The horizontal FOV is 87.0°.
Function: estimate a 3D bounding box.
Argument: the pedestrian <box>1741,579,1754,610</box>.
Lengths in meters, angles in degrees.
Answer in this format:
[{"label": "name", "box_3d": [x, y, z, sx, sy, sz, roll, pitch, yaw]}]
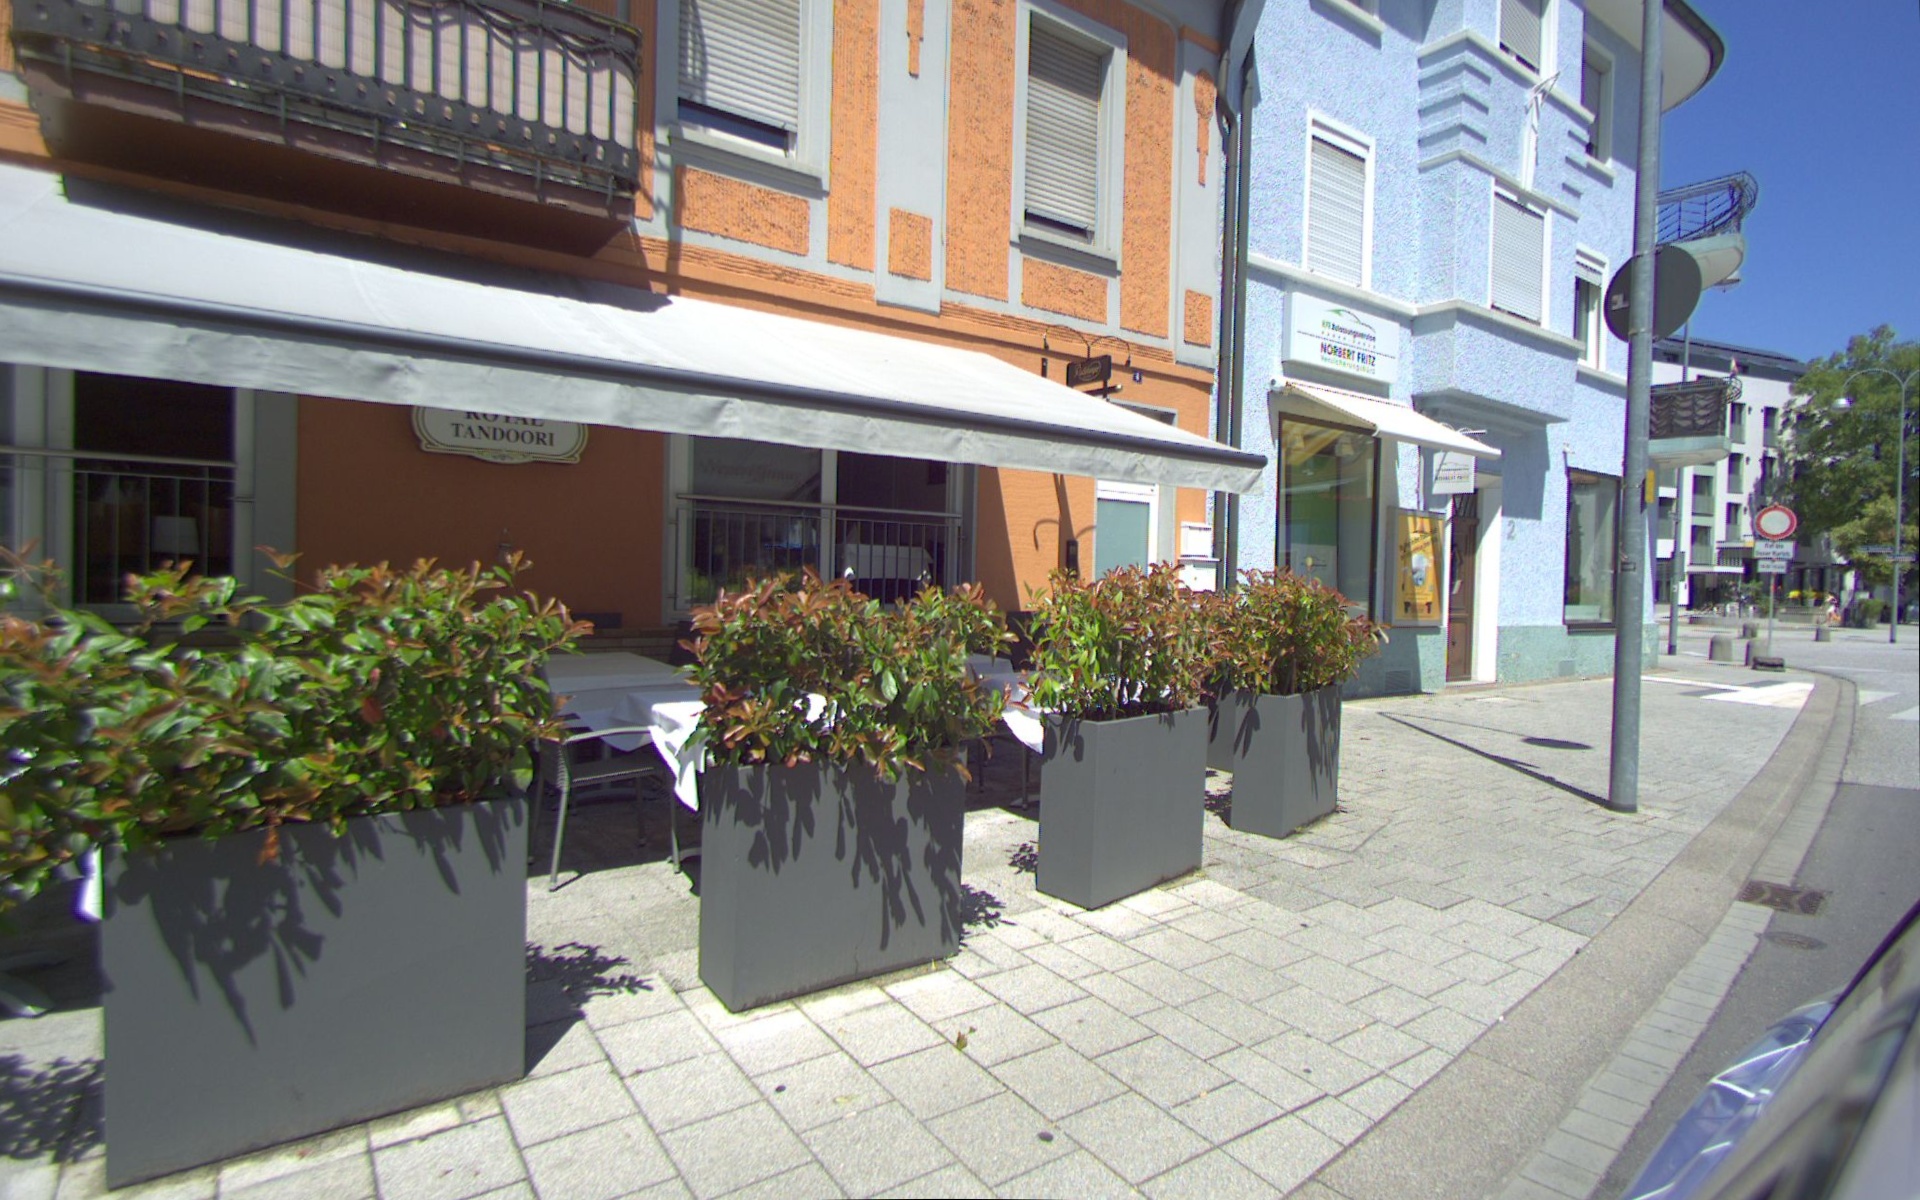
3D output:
[{"label": "pedestrian", "box_3d": [41.586, -0.306, 53.431, 0.443, 1.639, 0.450, 0, 0, -39]}]

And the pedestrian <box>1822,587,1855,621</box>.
[{"label": "pedestrian", "box_3d": [43.360, 0.186, 49.945, 0.931, 1.669, 0.820, 0, 0, -7]}]
